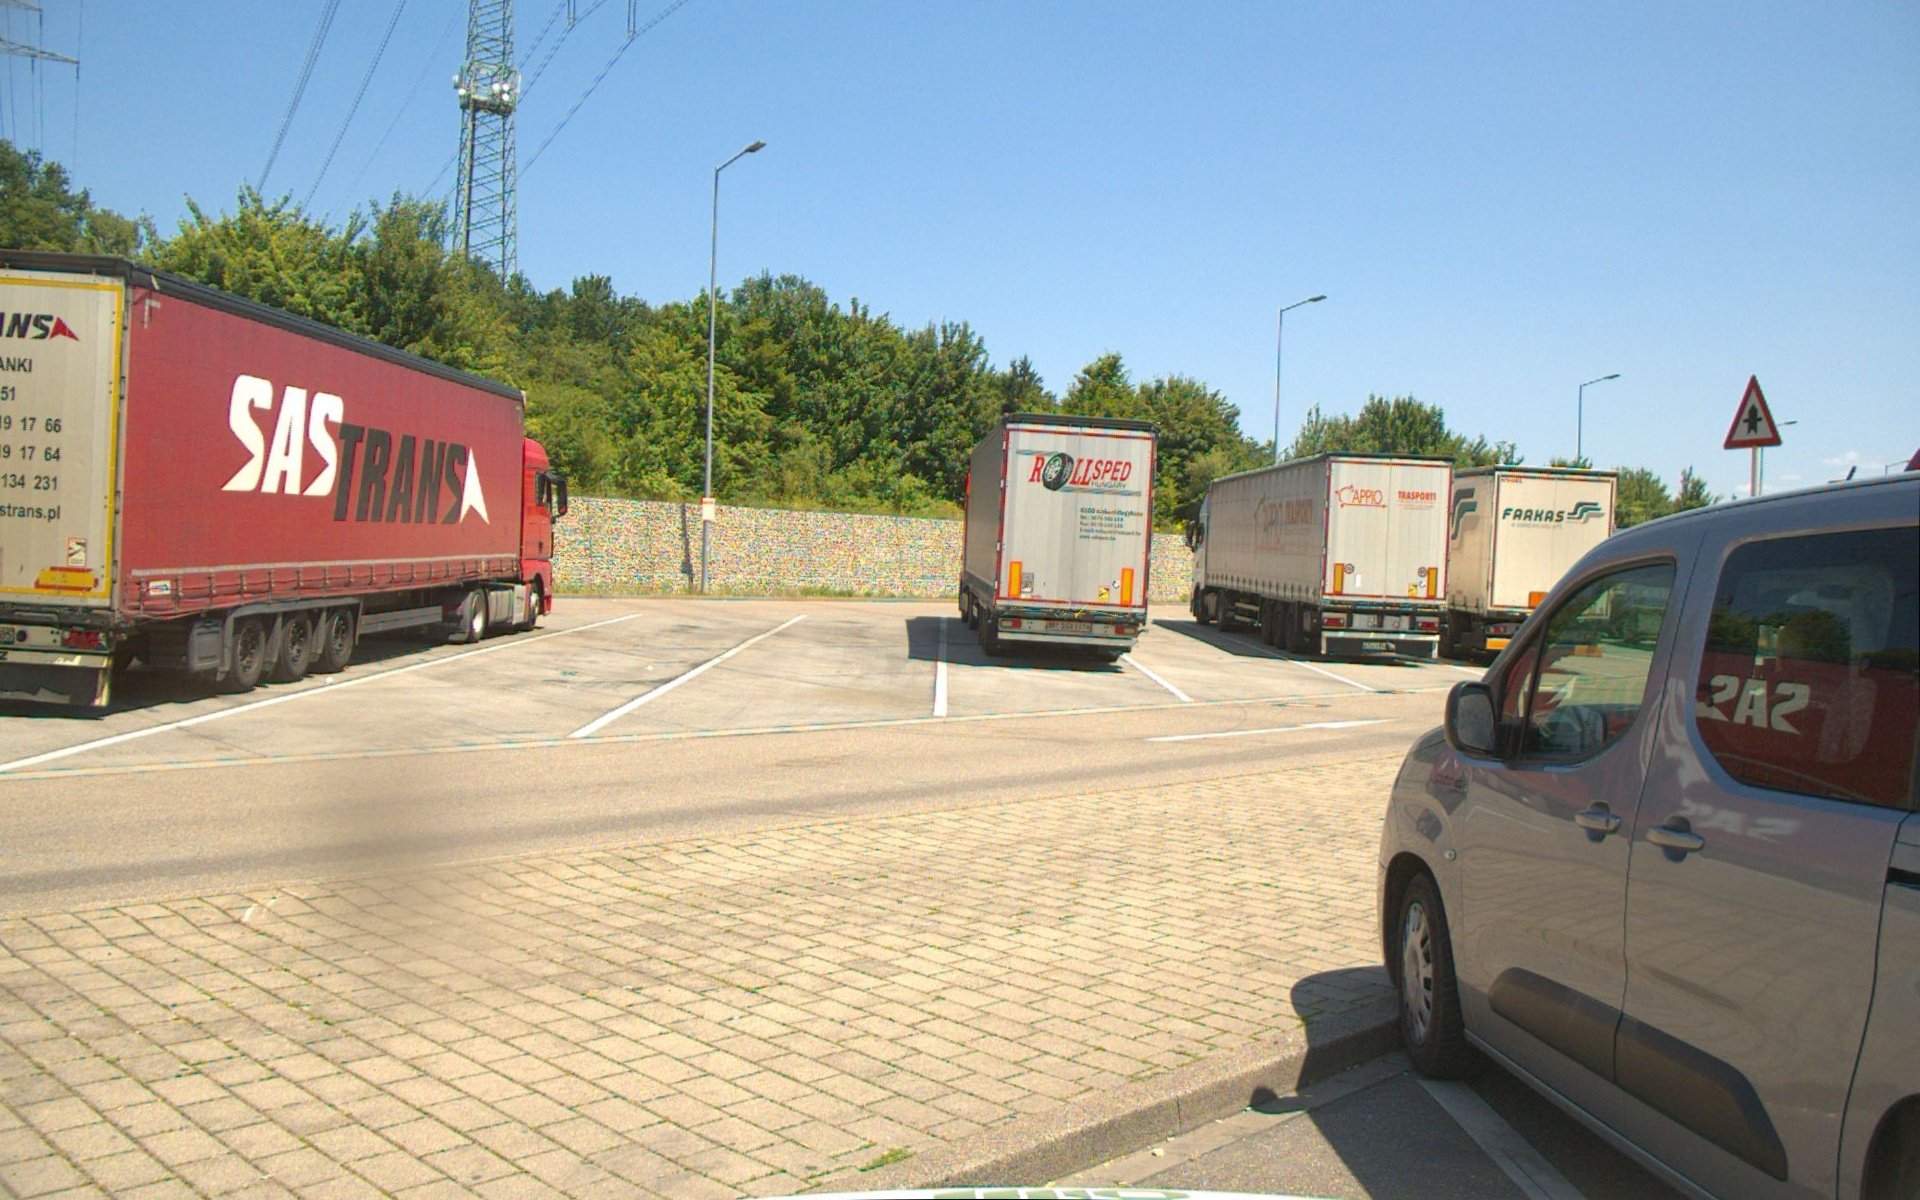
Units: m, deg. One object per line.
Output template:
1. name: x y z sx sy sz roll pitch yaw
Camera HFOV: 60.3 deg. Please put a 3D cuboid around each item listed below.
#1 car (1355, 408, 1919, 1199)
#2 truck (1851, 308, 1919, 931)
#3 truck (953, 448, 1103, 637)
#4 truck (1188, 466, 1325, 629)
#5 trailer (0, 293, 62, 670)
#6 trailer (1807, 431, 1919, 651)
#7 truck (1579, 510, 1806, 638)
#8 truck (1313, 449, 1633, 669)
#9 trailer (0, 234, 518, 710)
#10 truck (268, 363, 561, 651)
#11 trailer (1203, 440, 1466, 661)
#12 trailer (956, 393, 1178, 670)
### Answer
1. car: 2.424 0.560 3.832 1.790 1.784 3.997 1 1 -4
2. truck: 4.971 0.133 4.953 1.952 2.669 5.305 1 1 3
3. truck: 1.459 -1.382 39.460 2.965 3.997 6.845 2 2 -2
4. truck: 8.065 -1.413 45.624 2.701 4.196 5.283 1 1 -1
5. trailer: -12.417 -1.311 15.464 2.689 4.337 9.733 1 1 0
6. trailer: 22.549 -1.156 35.270 8.523 4.332 2.828 1 1 -19
7. truck: 21.950 -0.809 50.200 2.963 3.497 8.529 1 1 -1
8. truck: 11.709 -0.957 40.009 2.846 4.195 14.525 3 1 -1
9. trailer: -8.688 -1.260 21.052 2.694 4.128 13.285 1 1 -1
10. truck: -8.783 -1.423 27.555 2.687 4.152 6.828 1 1 -1
11. trailer: 8.198 -1.088 38.625 2.818 4.196 13.569 1 1 -1
12. trailer: 1.691 -1.316 32.694 3.008 4.301 12.805 2 2 -2
